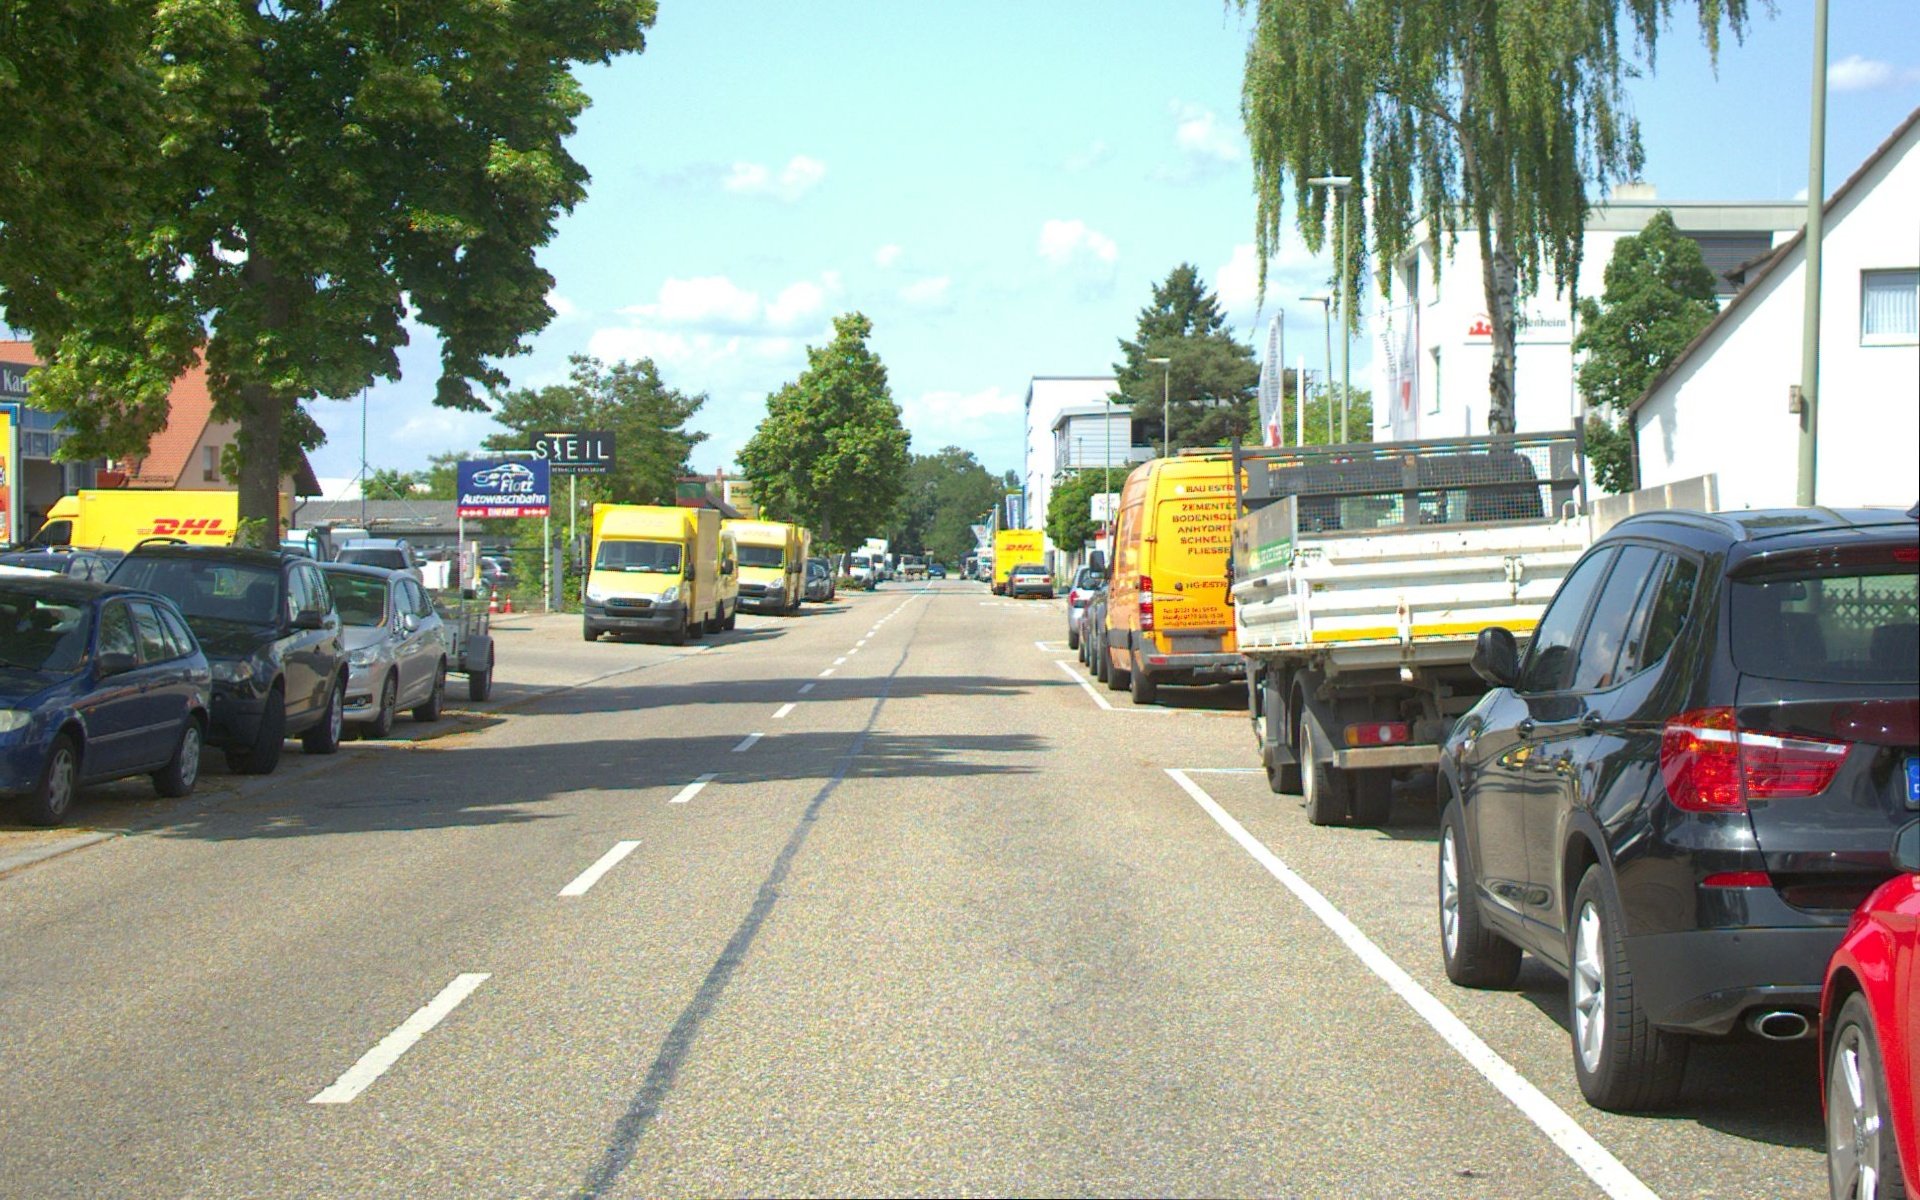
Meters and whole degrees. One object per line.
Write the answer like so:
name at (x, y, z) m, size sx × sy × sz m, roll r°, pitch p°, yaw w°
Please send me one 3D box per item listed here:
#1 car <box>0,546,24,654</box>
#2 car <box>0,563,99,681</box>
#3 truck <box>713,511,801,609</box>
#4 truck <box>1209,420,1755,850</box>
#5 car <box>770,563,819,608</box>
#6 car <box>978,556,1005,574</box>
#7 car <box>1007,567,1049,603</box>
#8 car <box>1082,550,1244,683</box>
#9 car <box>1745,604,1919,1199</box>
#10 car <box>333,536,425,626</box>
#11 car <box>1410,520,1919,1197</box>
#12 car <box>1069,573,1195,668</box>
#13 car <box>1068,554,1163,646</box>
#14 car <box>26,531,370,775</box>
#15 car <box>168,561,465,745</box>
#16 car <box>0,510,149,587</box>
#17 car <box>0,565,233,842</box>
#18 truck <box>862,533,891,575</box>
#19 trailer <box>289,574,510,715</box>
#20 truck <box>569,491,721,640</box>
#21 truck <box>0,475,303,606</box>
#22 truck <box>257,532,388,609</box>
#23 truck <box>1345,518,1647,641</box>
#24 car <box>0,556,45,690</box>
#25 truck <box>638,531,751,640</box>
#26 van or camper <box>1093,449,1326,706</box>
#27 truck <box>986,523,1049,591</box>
car at (-15.448, 0.009, 51.761) m, size 1.443 × 1.650 × 3.300 m, roll 0°, pitch 1°, yaw 8°
car at (-12.729, 0.232, 41.762) m, size 4.027 × 1.369 × 1.827 m, roll 1°, pitch 1°, yaw 5°
truck at (-6.124, -1.184, 104.334) m, size 2.269 × 2.845 × 7.175 m, roll 1°, pitch 0°, yaw -1°
truck at (3.009, 0.148, 21.351) m, size 2.522 × 2.291 × 5.895 m, roll 0°, pitch 1°, yaw 0°
car at (-6.378, -0.588, 132.484) m, size 1.724 × 1.598 × 4.414 m, roll 3°, pitch 1°, yaw -2°
car at (2.246, -2.531, 247.058) m, size 1.928 × 1.306 × 4.000 m, roll 0°, pitch 1°, yaw 0°
car at (2.801, -0.638, 142.932) m, size 1.652 × 1.382 × 4.423 m, roll 1°, pitch 1°, yaw 0°
car at (2.579, 0.171, 44.551) m, size 1.832 × 1.634 × 4.240 m, roll 0°, pitch 1°, yaw 0°
car at (2.627, 0.759, 5.848) m, size 1.685 × 1.430 × 4.146 m, roll 1°, pitch 1°, yaw 1°
car at (-12.243, -0.439, 72.590) m, size 1.828 × 1.699 × 4.709 m, roll 0°, pitch 3°, yaw -9°
car at (2.606, 0.606, 10.702) m, size 1.830 × 1.656 × 4.554 m, roll 0°, pitch 1°, yaw 0°
car at (2.577, 0.284, 52.317) m, size 1.669 × 1.330 × 4.438 m, roll 0°, pitch 1°, yaw 0°
car at (2.774, -0.024, 62.094) m, size 1.610 × 1.575 × 4.000 m, roll 1°, pitch 1°, yaw 2°
car at (-5.867, 0.345, 26.963) m, size 1.693 × 1.694 × 4.400 m, roll 2°, pitch 1°, yaw -1°
car at (-5.937, 0.443, 32.207) m, size 1.833 × 1.523 × 4.237 m, roll 2°, pitch 1°, yaw 2°
car at (-20.838, -1.181, 79.176) m, size 3.844 × 1.725 × 1.731 m, roll 0°, pitch 1°, yaw 11°
car at (-6.019, 0.565, 21.661) m, size 1.699 × 1.478 × 4.158 m, roll 2°, pitch 1°, yaw 4°
truck at (-6.278, -3.468, 258.670) m, size 2.029 × 3.143 × 6.500 m, roll 0°, pitch 1°, yaw 0°
trailer at (-5.997, 0.436, 37.217) m, size 1.761 × 1.285 × 4.508 m, roll 3°, pitch 1°, yaw -2°
truck at (-6.407, -0.730, 70.746) m, size 2.220 × 2.847 × 7.069 m, roll 2°, pitch 1°, yaw 2°
truck at (-19.324, -1.428, 82.093) m, size 6.602 × 2.840 × 2.527 m, roll 2°, pitch 1°, yaw 13°
truck at (-21.037, -1.000, 113.701) m, size 2.112 × 2.479 × 5.717 m, roll 0°, pitch 1°, yaw 14°
truck at (11.593, -0.455, 74.284) m, size 6.038 × 2.568 × 2.567 m, roll 0°, pitch 1°, yaw -26°
car at (-12.653, 0.264, 38.982) m, size 4.027 × 1.485 × 1.827 m, roll 0°, pitch 0°, yaw 3°
truck at (-6.022, -0.362, 78.636) m, size 1.993 × 2.405 × 6.064 m, roll 0°, pitch 1°, yaw 1°
van or camper at (2.689, -0.278, 38.415) m, size 1.993 × 2.655 × 5.770 m, roll 0°, pitch 1°, yaw -2°
truck at (2.551, -1.919, 154.475) m, size 2.474 × 2.930 × 7.189 m, roll 1°, pitch 1°, yaw -1°
